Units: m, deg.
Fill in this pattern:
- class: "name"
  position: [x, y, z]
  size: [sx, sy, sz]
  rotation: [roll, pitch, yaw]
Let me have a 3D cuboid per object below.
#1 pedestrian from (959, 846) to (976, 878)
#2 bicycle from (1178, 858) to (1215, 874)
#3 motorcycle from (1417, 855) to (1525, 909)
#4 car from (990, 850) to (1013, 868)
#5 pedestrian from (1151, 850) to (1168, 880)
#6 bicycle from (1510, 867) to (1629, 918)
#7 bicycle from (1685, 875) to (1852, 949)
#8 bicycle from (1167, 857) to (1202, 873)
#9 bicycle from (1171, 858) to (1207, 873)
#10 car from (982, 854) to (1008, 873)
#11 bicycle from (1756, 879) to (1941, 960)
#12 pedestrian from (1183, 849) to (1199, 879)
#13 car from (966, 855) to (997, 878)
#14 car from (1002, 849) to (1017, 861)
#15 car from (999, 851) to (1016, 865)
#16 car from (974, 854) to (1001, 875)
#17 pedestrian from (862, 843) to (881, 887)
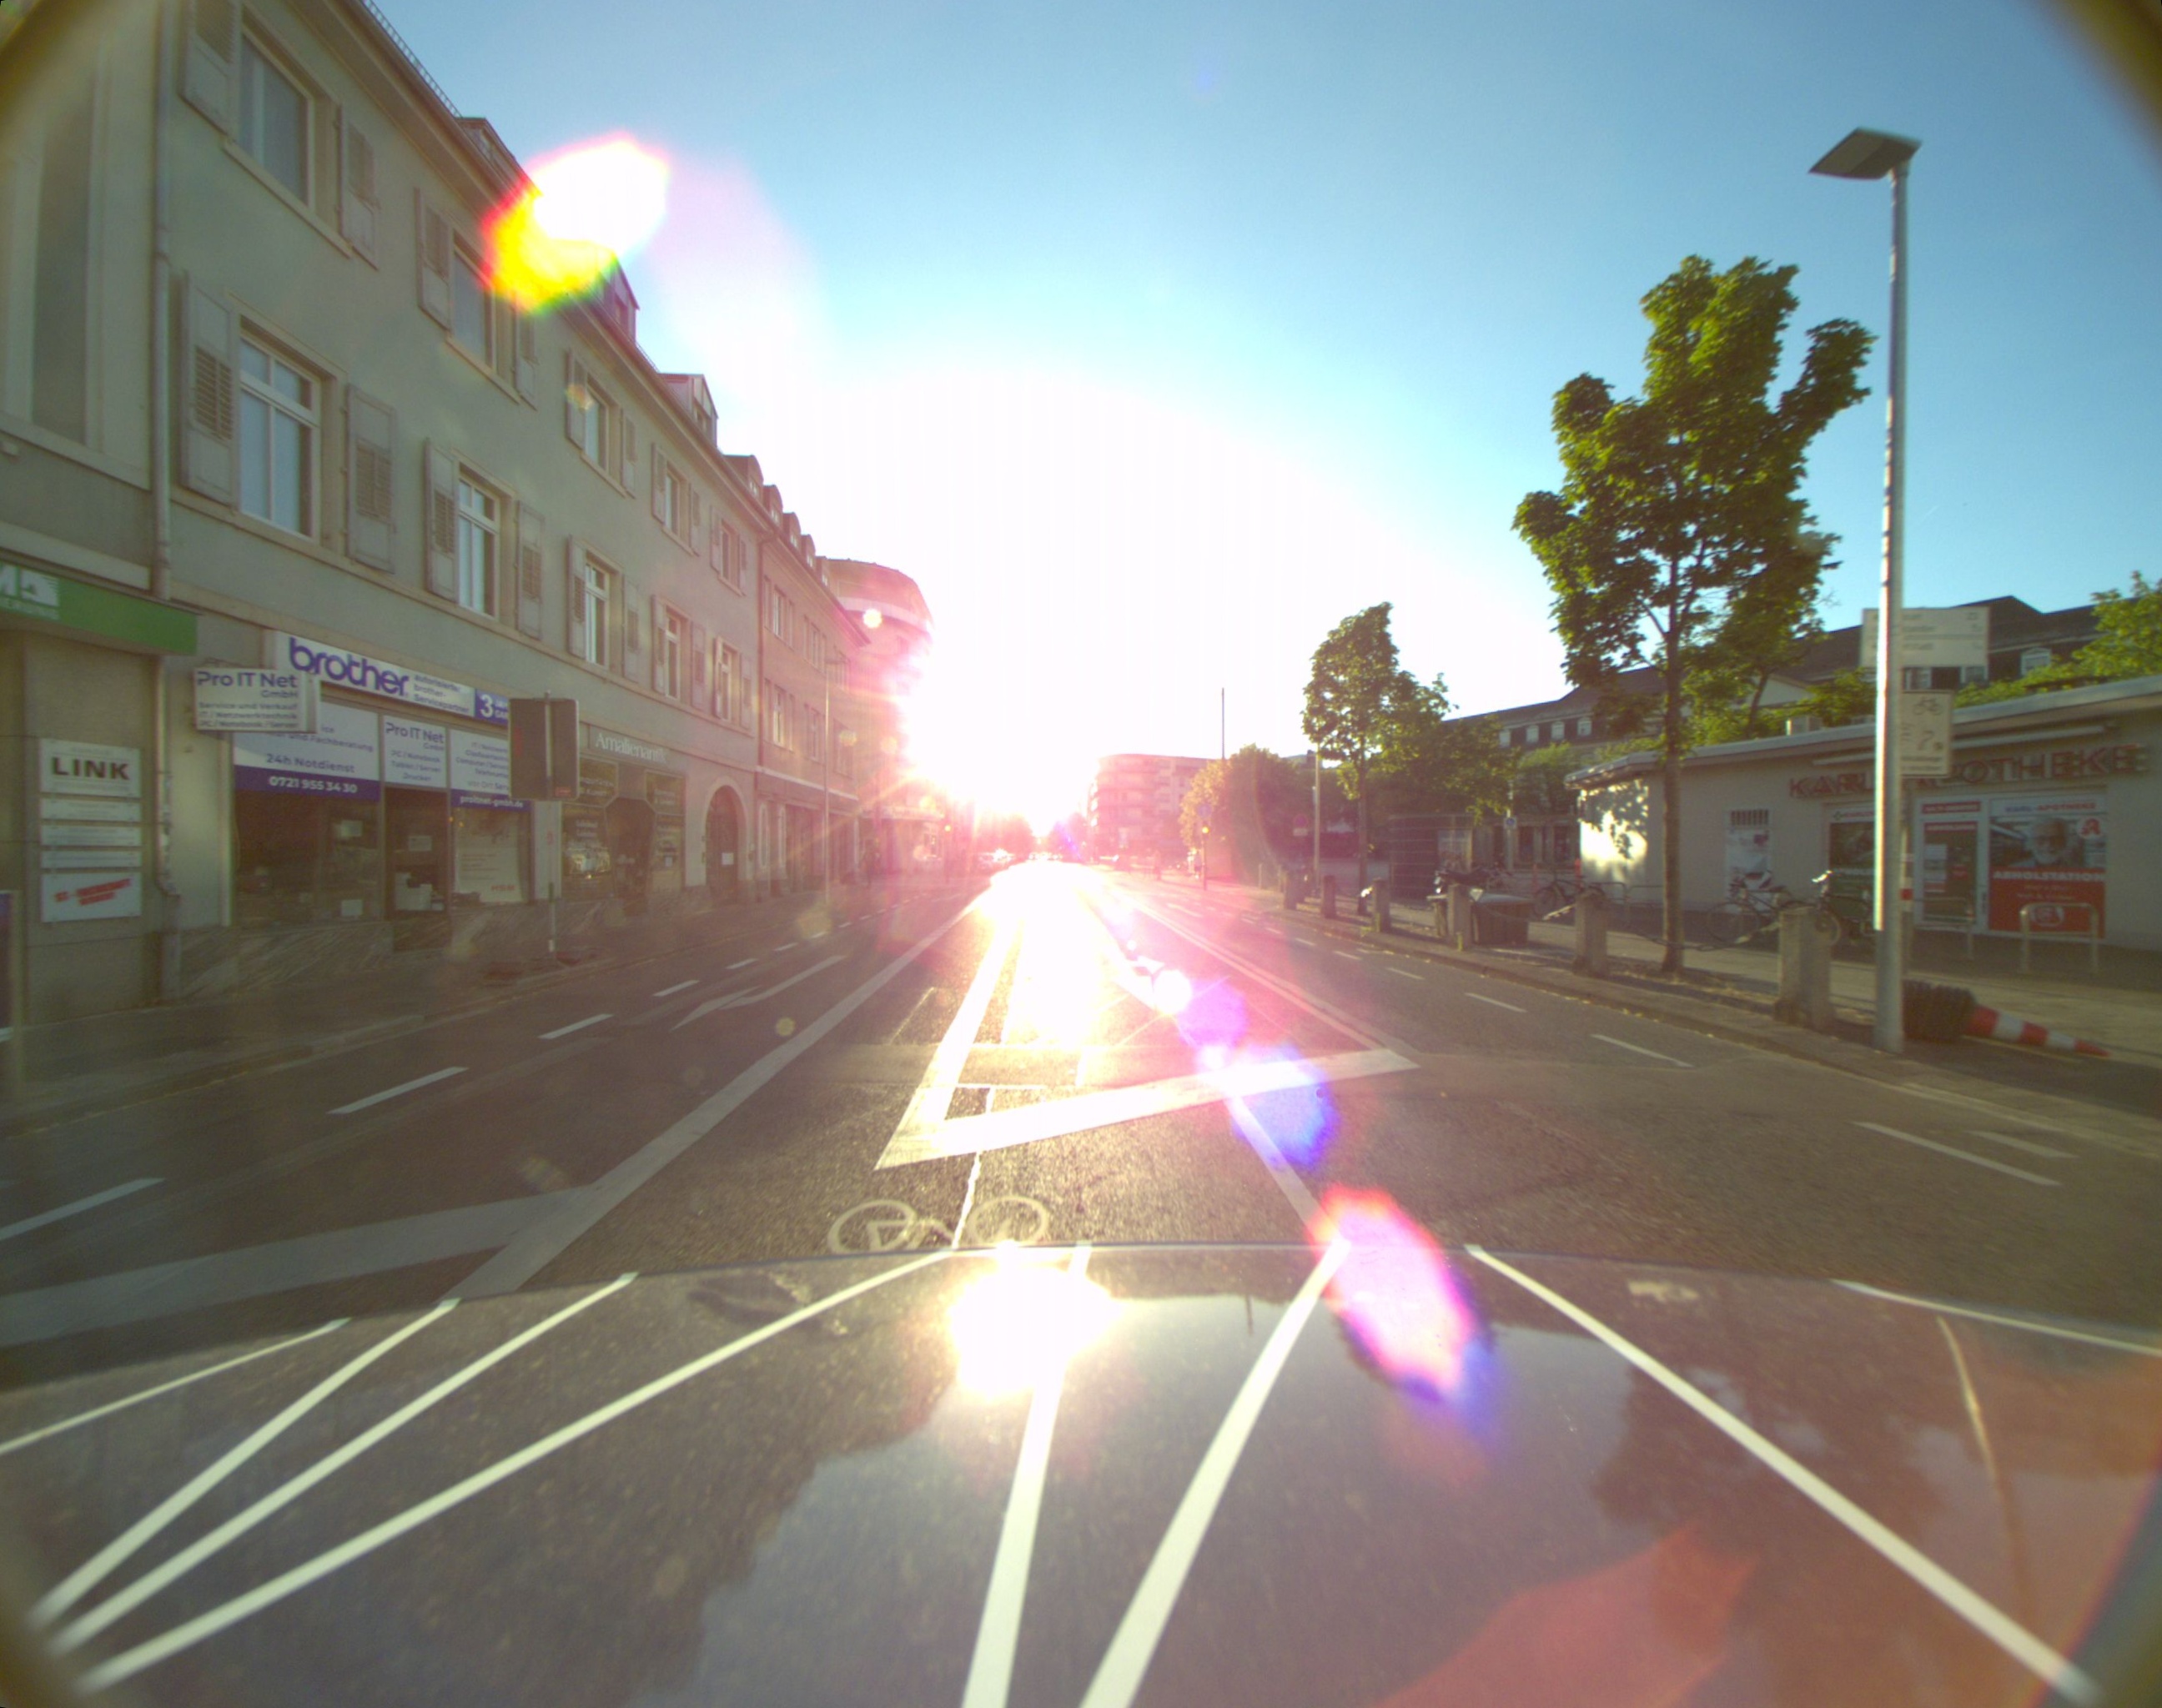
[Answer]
- class: "pedestrian"
  position: [-6.256, 0.439, 41.852]
  size: [0.842, 1.736, 0.700]
  rotation: [-2, 2, -4]
- class: "bicycle"
  position: [7.714, 0.814, 50.819]
  size: [2.399, 0.953, 0.672]
  rotation: [-1, 2, 4]
- class: "motorcycle"
  position: [10.428, 0.737, 20.366]
  size: [2.450, 1.358, 0.779]
  rotation: [-1, 0, 2]
- class: "car"
  position: [-7.869, 0.438, 75.685]
  size: [1.999, 1.638, 4.507]
  rotation: [-2, 1, -2]
- class: "pedestrian"
  position: [4.527, 0.616, 43.751]
  size: [0.905, 1.667, 0.780]
  rotation: [-1, 2, 9]
- class: "bicycle"
  position: [11.000, 0.863, 17.152]
  size: [2.181, 1.081, 0.779]
  rotation: [1, 2, -3]
- class: "bicycle"
  position: [11.158, 0.921, 12.360]
  size: [2.222, 1.081, 0.778]
  rotation: [-1, 2, -9]
- class: "bicycle"
  position: [7.266, 0.758, 53.516]
  size: [2.399, 1.065, 0.672]
  rotation: [-1, 2, 4]
- class: "bicycle"
  position: [7.350, 0.801, 51.869]
  size: [2.399, 0.953, 0.672]
  rotation: [-1, 2, 4]
- class: "car"
  position: [-7.826, 0.824, 69.635]
  size: [1.999, 1.538, 4.507]
  rotation: [-2, 1, -2]
- class: "bicycle"
  position: [11.332, 0.942, 11.247]
  size: [2.197, 1.081, 0.778]
  rotation: [0, 1, -9]
- class: "pedestrian"
  position: [6.241, 0.544, 43.199]
  size: [0.778, 1.667, 0.907]
  rotation: [-1, 2, 5]
- class: "car"
  position: [-7.519, 0.881, 57.737]
  size: [1.999, 1.538, 4.506]
  rotation: [-2, 1, -5]
- class: "car"
  position: [-10.250, 0.135, 109.175]
  size: [1.999, 1.538, 4.506]
  rotation: [-2, 1, -5]
- class: "car"
  position: [-9.312, 0.490, 96.293]
  size: [1.999, 1.538, 4.506]
  rotation: [-2, 1, -5]
- class: "car"
  position: [-7.830, 0.857, 64.175]
  size: [1.999, 1.538, 4.506]
  rotation: [-2, 1, -5]
- class: "pedestrian"
  position: [-8.592, 0.445, 31.159]
  size: [0.673, 1.774, 0.720]
  rotation: [1, 2, -19]
